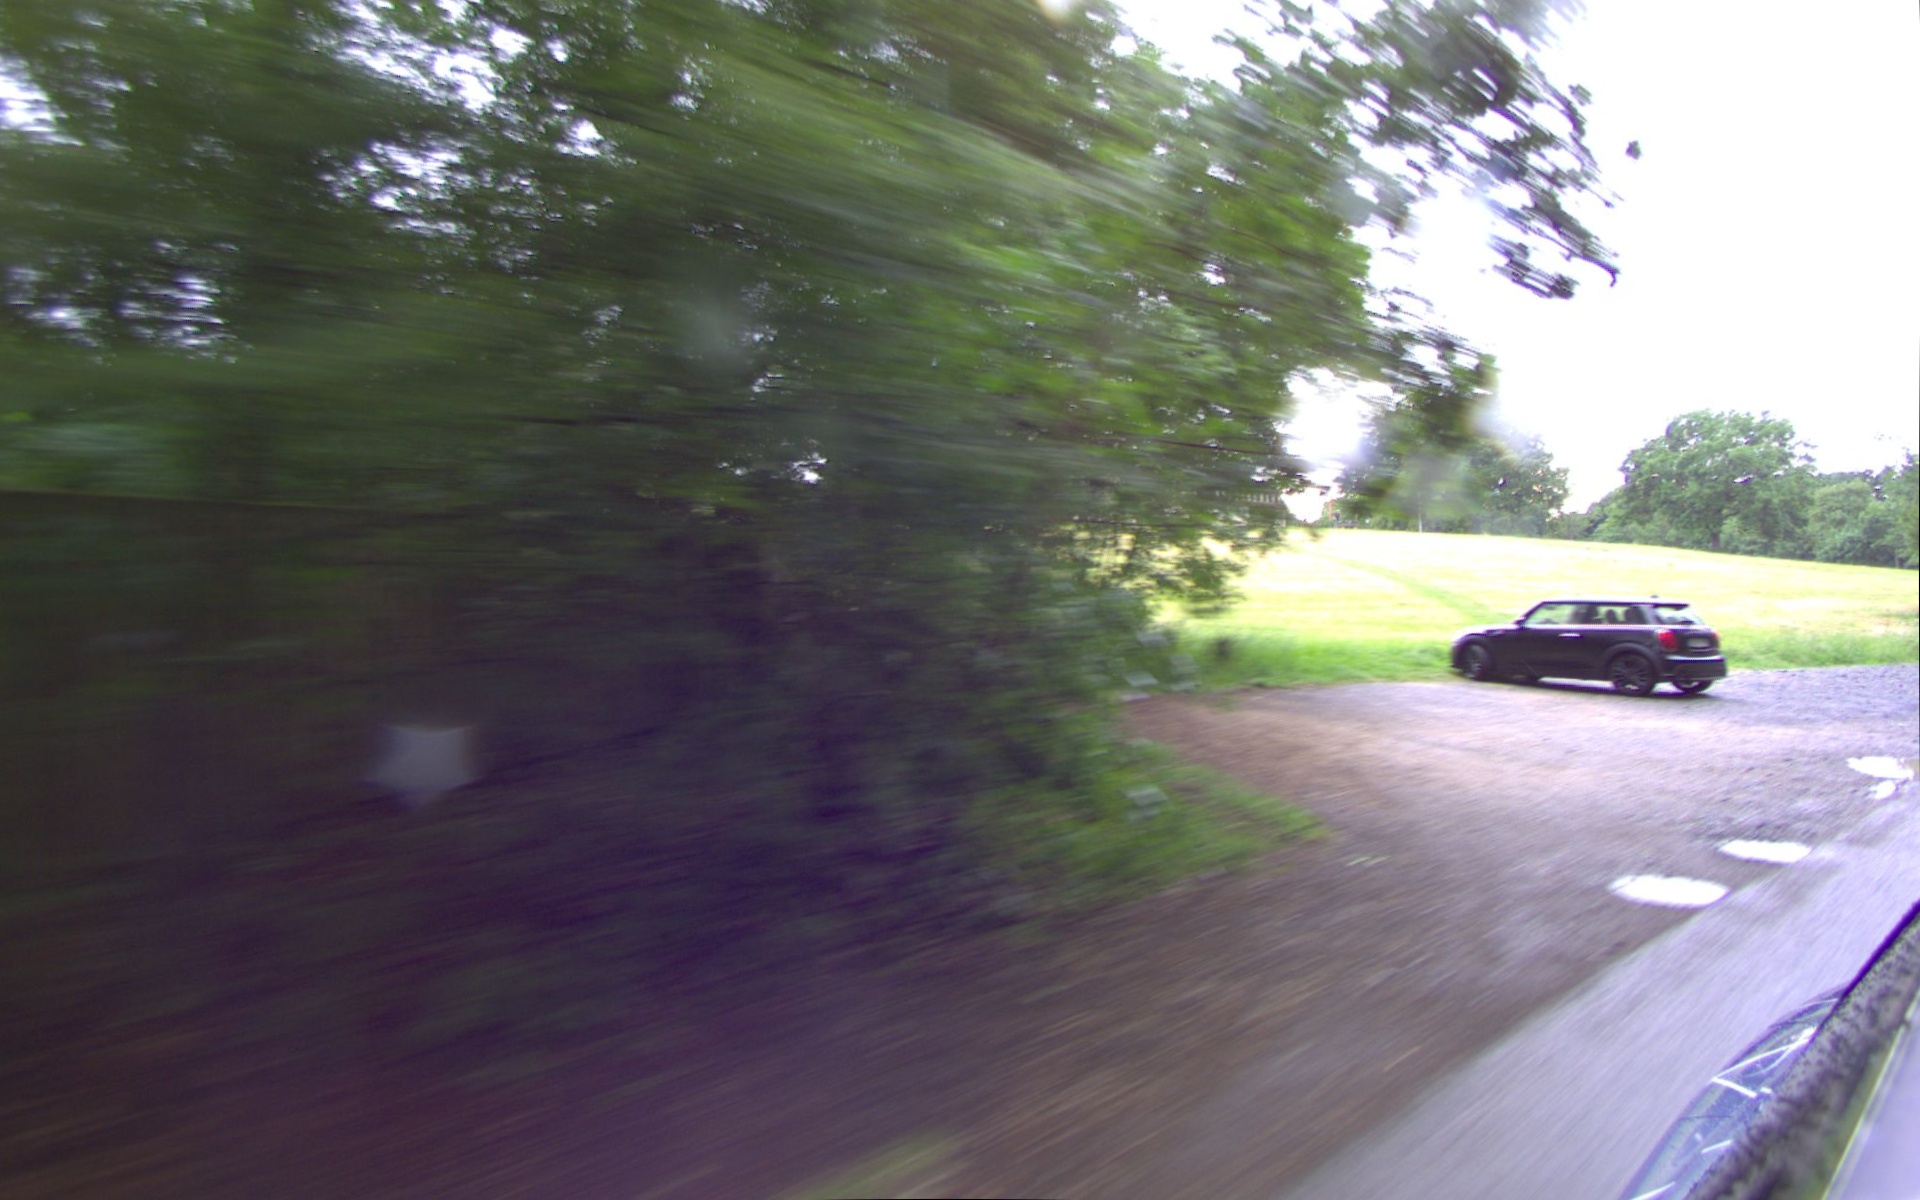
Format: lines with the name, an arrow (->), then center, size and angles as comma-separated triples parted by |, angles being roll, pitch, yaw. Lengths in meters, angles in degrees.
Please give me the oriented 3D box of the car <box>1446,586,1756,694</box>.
car -> 9.773, 0.553, 15.737 | 1.672, 1.454, 3.724 | -1, 0, -27
